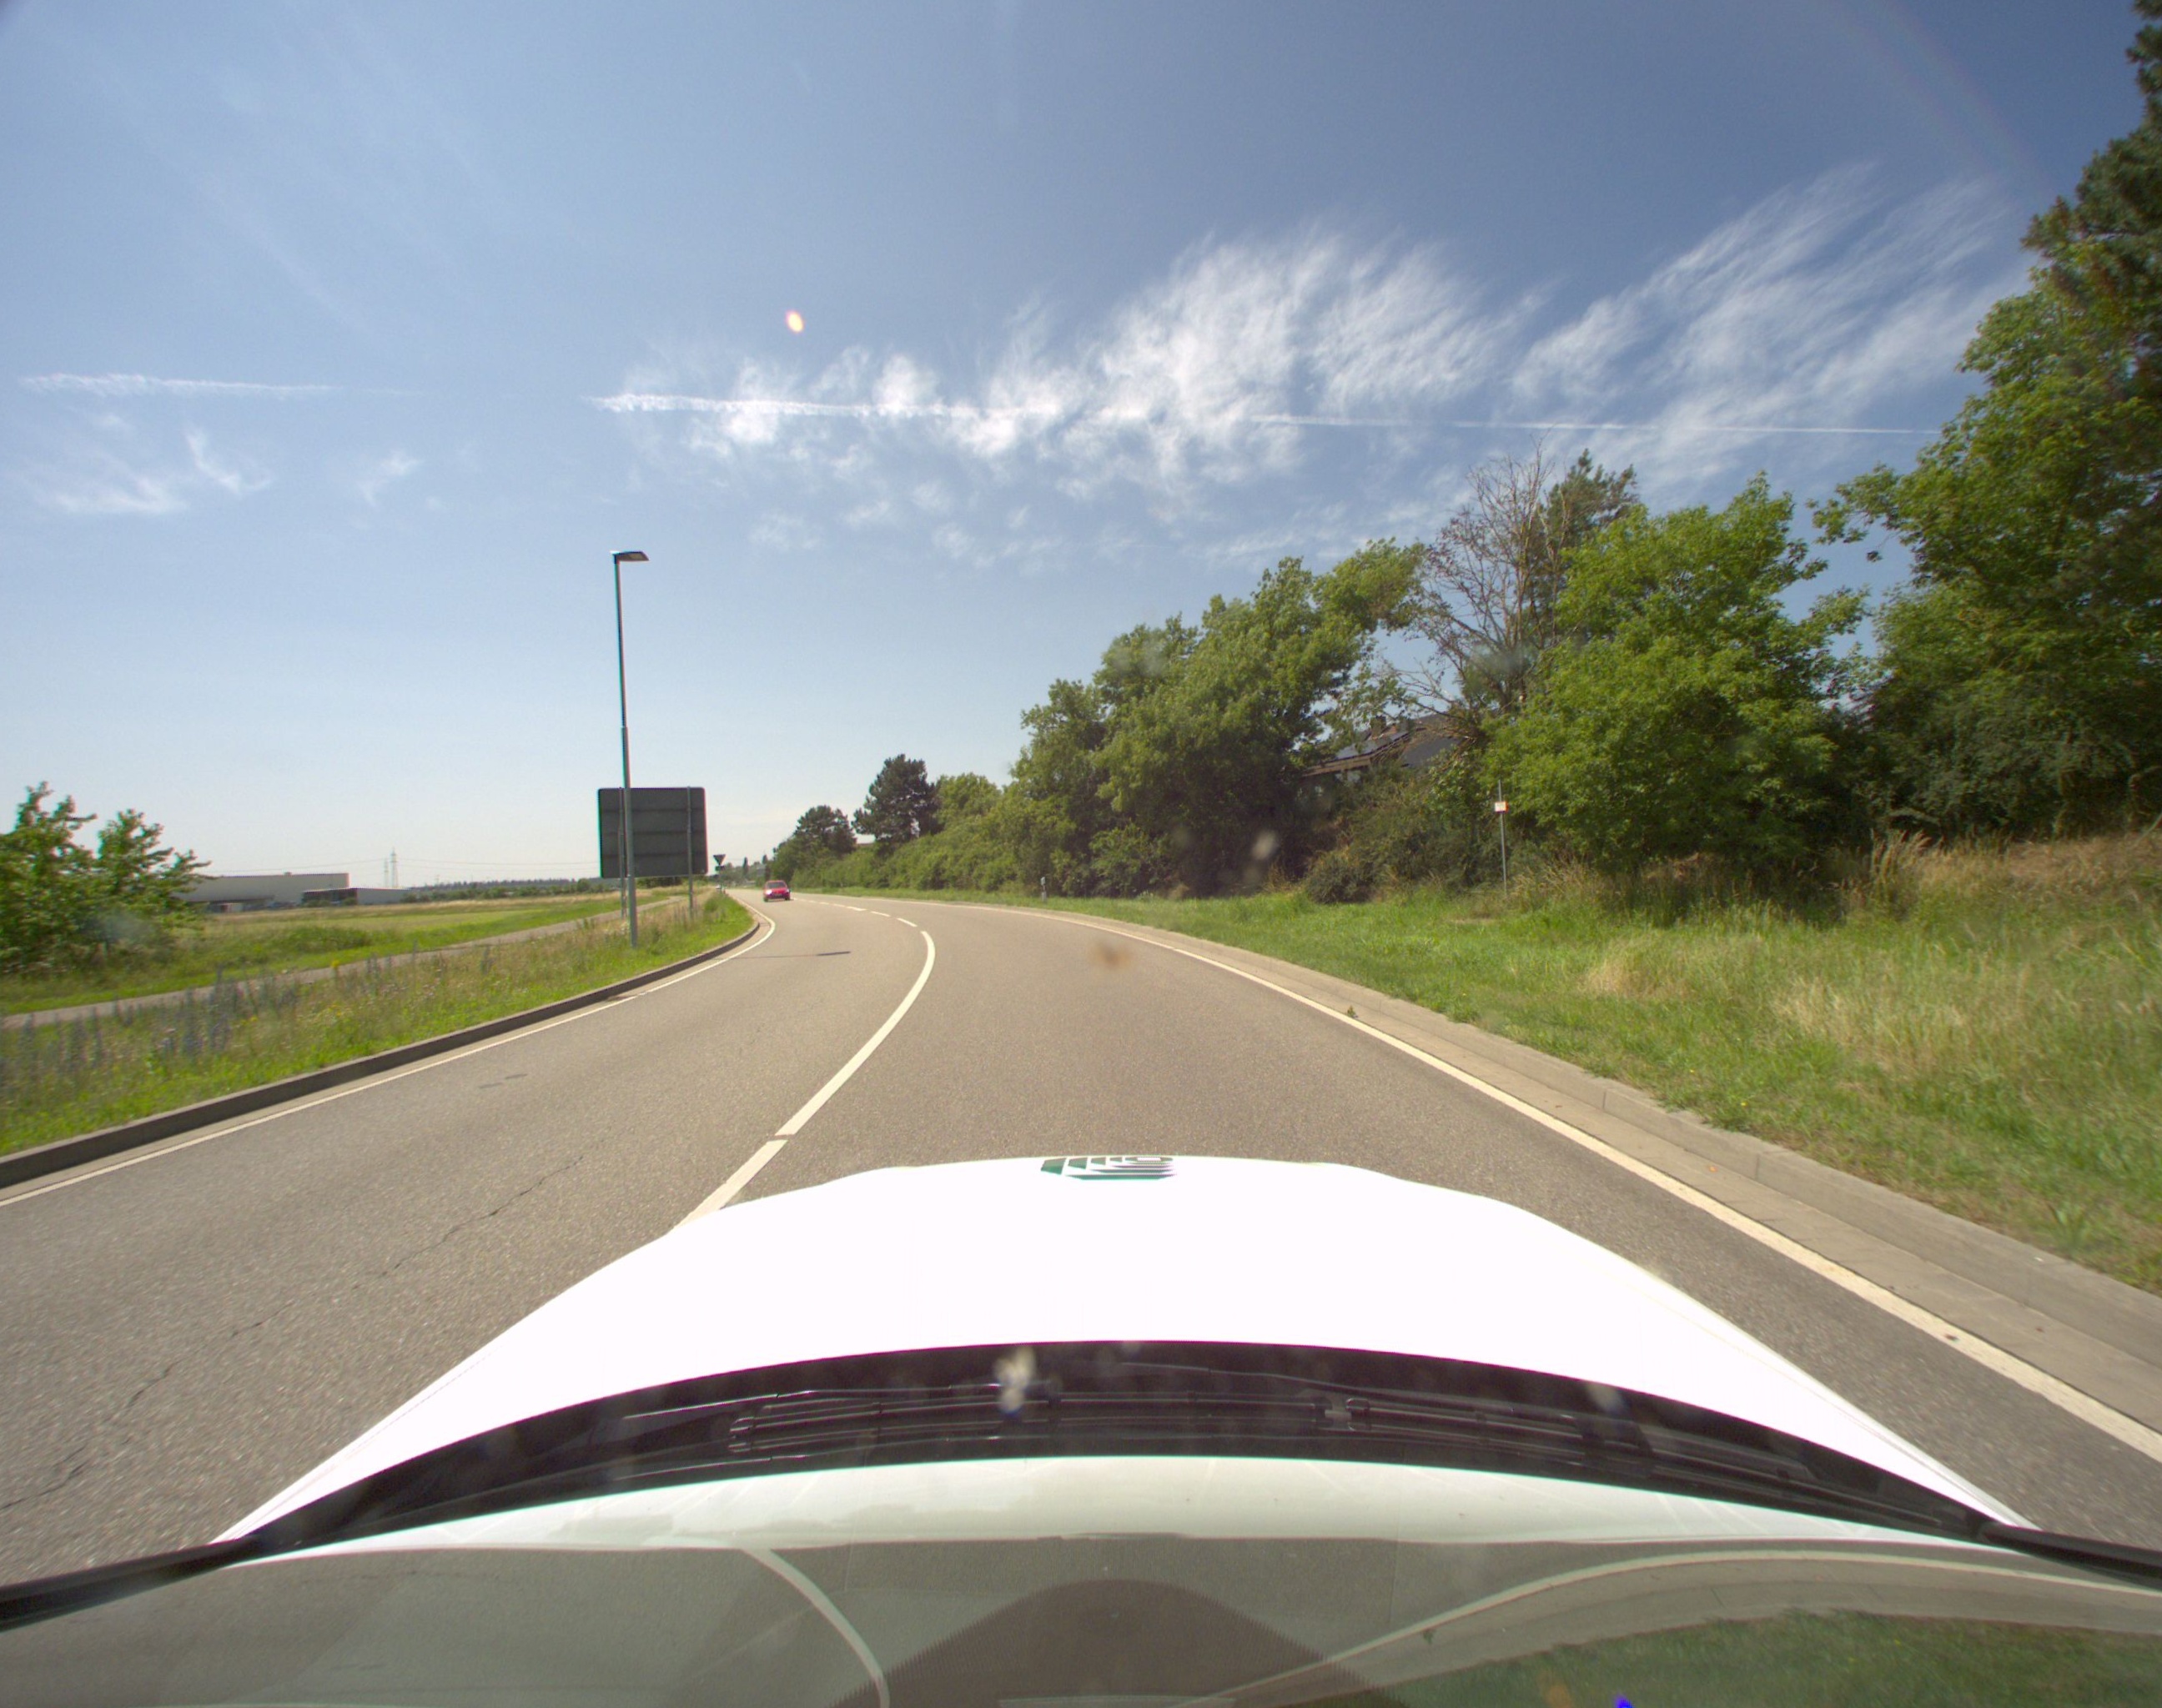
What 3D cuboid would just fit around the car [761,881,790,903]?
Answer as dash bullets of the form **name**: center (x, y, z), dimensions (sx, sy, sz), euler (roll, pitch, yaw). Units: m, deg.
- **car**: center (-21.949, 2.690, 58.443), dimensions (1.663, 1.433, 3.707), euler (-4, 0, -23)
